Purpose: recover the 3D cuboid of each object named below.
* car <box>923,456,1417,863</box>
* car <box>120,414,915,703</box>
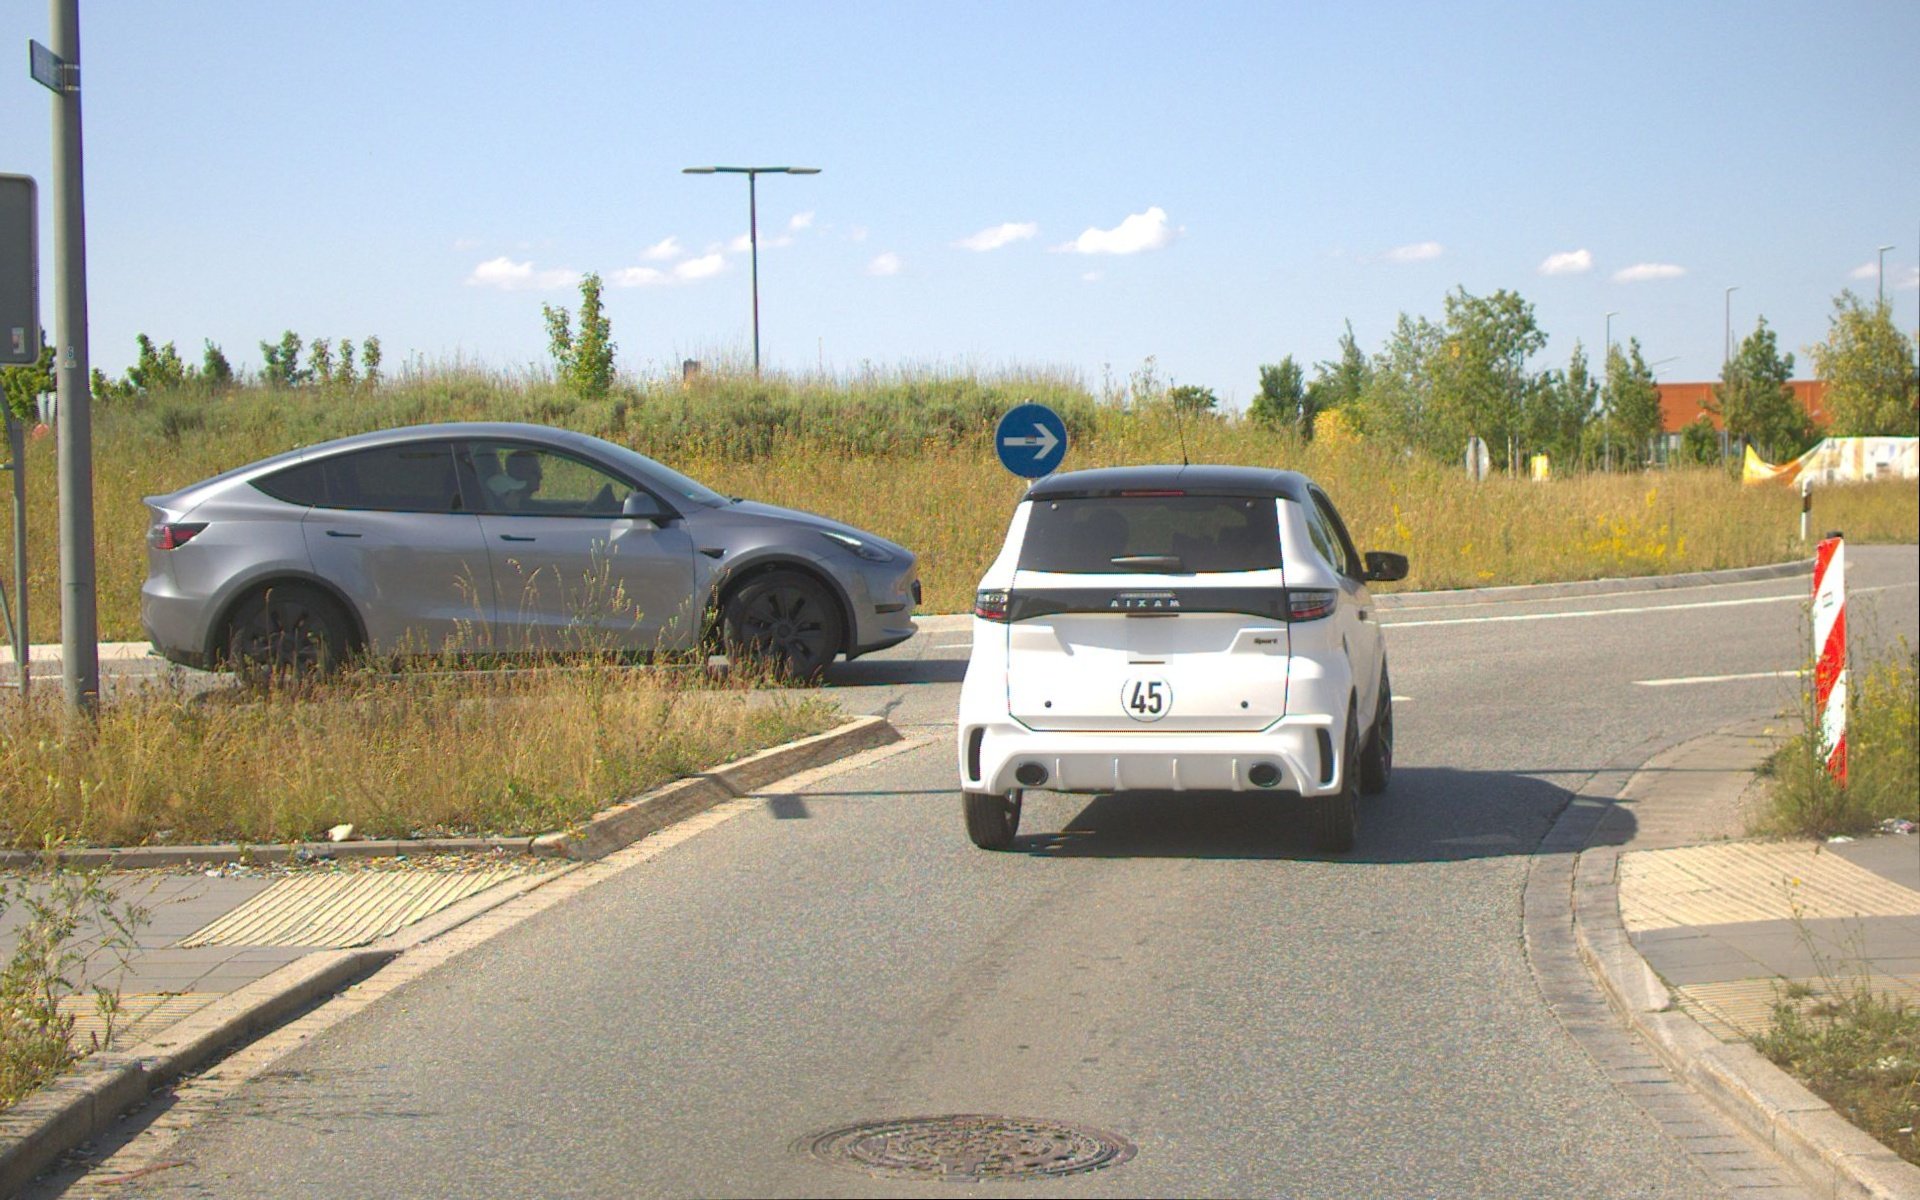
[{"bbox_3d":[1.013,0.144,14.551,1.617,1.429,3.791,0,3,11],"label":"car"},{"bbox_3d":[-2.607,-0.295,21.095,4.609,1.620,1.964,-1,3,-2],"label":"car"}]
